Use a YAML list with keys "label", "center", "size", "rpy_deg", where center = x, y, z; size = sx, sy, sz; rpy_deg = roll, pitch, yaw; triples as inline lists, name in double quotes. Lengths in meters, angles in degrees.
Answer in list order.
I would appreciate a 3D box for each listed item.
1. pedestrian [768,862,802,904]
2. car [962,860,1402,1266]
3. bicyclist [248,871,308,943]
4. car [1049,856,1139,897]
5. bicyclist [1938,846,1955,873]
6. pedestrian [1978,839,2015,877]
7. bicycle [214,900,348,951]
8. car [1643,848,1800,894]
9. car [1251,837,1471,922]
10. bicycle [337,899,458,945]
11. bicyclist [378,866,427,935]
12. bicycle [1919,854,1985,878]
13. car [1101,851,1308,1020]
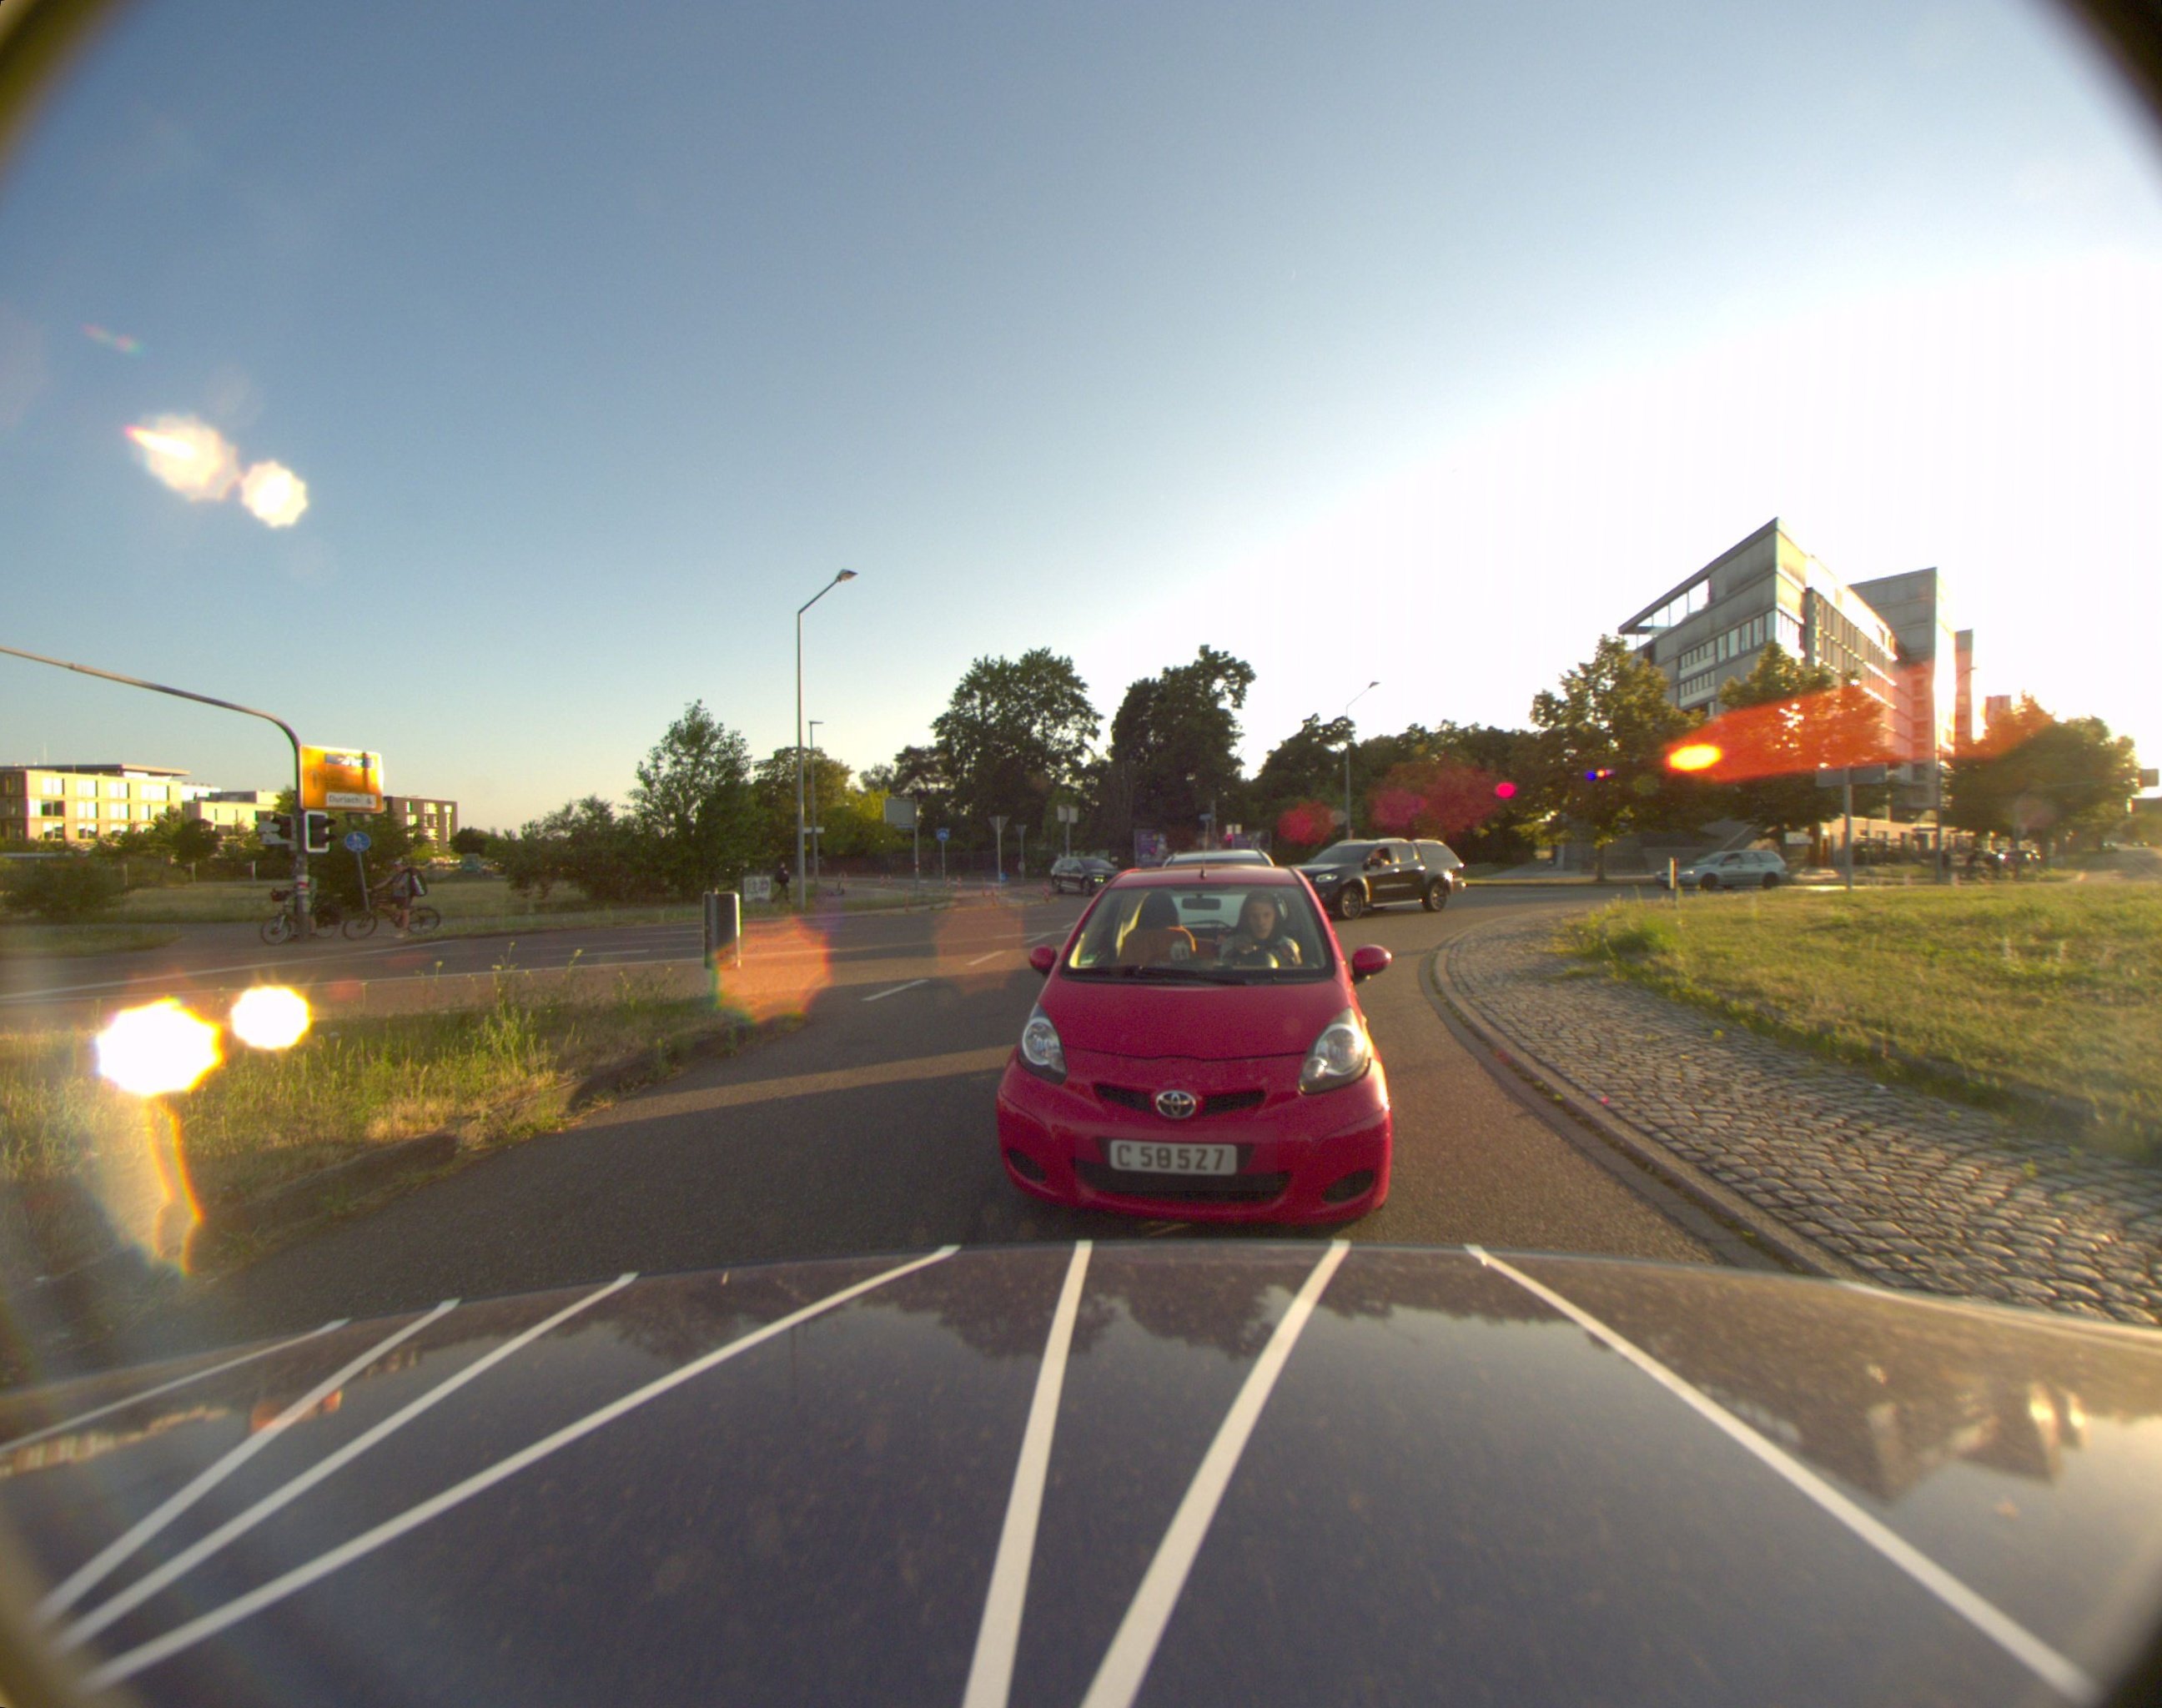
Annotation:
- label: "pedestrian"
  center: [-11.471, 1.105, 29.423]
  size: [0.994, 1.581, 0.924]
  rpy_deg: [-2, 1, -36]
- label: "car"
  center: [0.844, 0.789, 4.892]
  size: [1.686, 1.412, 4.004]
  rpy_deg: [-1, 0, 15]
- label: "bicyclist"
  center: [-19.337, 1.256, 18.308]
  size: [0.724, 1.680, 0.690]
  rpy_deg: [-1, 1, 12]
- label: "car"
  center: [0.473, 0.894, 32.458]
  size: [2.003, 1.588, 4.304]
  rpy_deg: [-1, 0, -28]
- label: "bicyclist"
  center: [46.971, 0.310, 41.250]
  size: [0.693, 1.432, 0.610]
  rpy_deg: [-2, 1, -42]
- label: "pedestrian"
  center: [49.364, 0.198, 40.978]
  size: [0.776, 2.002, 0.998]
  rpy_deg: [-2, 1, -11]
- label: "bicycle"
  center: [-19.279, 1.696, 18.395]
  size: [0.708, 0.958, 2.109]
  rpy_deg: [-1, 2, 14]
- label: "car"
  center: [23.847, 0.601, 28.355]
  size: [4.567, 1.550, 1.832]
  rpy_deg: [-1, 1, -6]
- label: "car"
  center: [6.765, 0.574, 18.177]
  size: [5.314, 1.801, 1.996]
  rpy_deg: [0, -2, -30]
- label: "bicycle"
  center: [-17.168, 1.678, 19.155]
  size: [0.708, 0.957, 2.149]
  rpy_deg: [-1, 0, 26]
- label: "bicyclist"
  center: [-17.152, 1.164, 19.215]
  size: [0.723, 1.680, 0.690]
  rpy_deg: [-1, 1, 28]
- label: "bicycle"
  center: [47.084, 0.630, 41.108]
  size: [0.744, 1.237, 2.341]
  rpy_deg: [-2, 1, -41]
- label: "car"
  center: [1.689, 0.791, 9.545]
  size: [1.996, 1.597, 4.202]
  rpy_deg: [-1, 0, 14]
